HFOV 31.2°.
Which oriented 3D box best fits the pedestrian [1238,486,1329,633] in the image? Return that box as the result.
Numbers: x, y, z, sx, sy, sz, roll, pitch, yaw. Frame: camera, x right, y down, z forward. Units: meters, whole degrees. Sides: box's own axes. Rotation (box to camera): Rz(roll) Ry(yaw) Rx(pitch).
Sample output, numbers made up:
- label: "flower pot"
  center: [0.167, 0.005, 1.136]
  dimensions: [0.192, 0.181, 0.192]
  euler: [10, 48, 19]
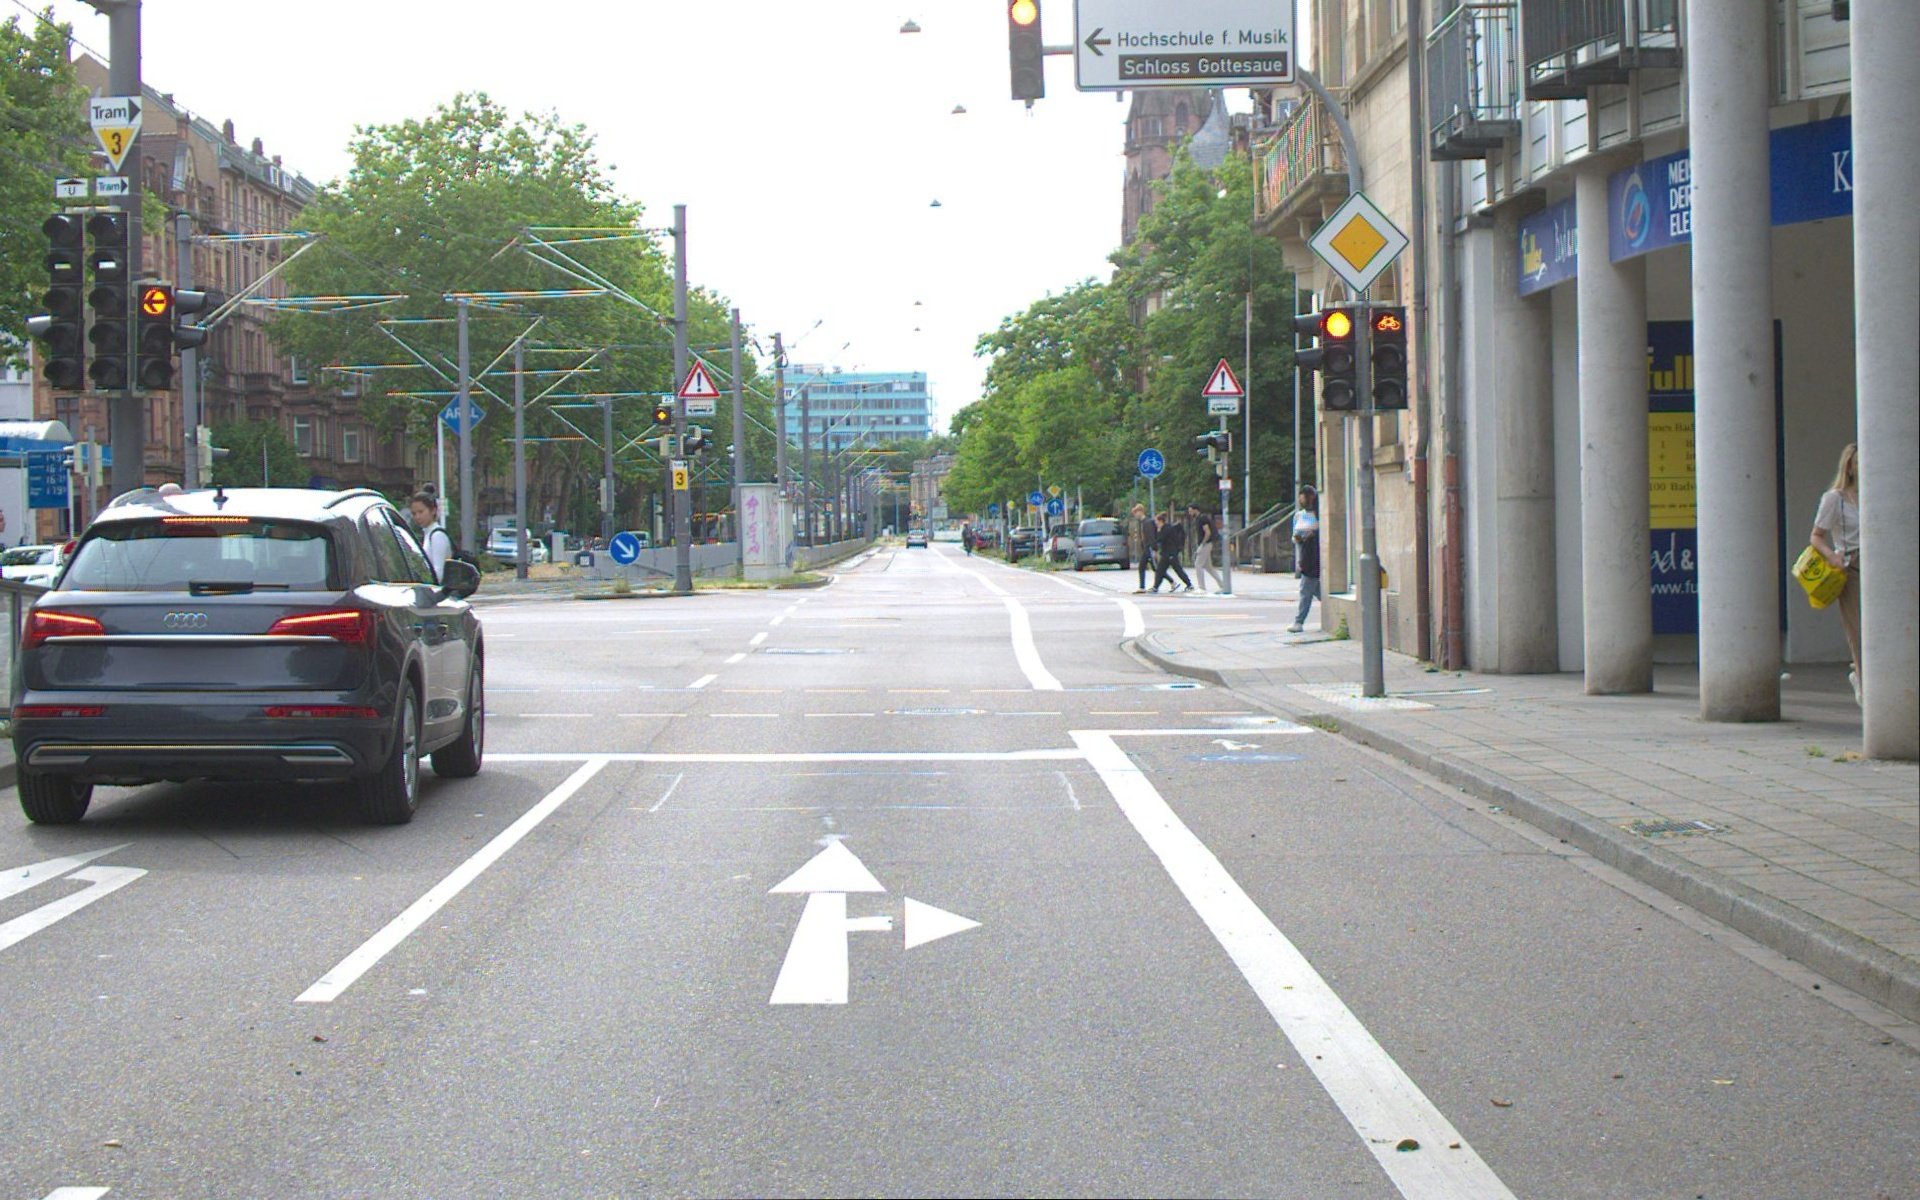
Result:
- label: "pedestrian"
  center: [3.737, -0.475, 39.670]
  dimensions: [0.671, 1.674, 0.866]
  euler: [1, 1, 38]

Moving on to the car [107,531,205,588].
- label: "car"
  center: [-22.455, -1.142, 96.131]
  dimensions: [1.894, 1.552, 3.837]
  euler: [0, 1, -1]

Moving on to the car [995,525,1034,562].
- label: "car"
  center: [2.983, -3.113, 188.752]
  dimensions: [1.993, 2.007, 4.000]
  euler: [0, 1, -1]

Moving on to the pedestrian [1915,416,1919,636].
- label: "pedestrian"
  center: [6.546, -0.247, 21.918]
  dimensions: [0.675, 1.884, 0.737]
  euler: [-2, 1, 1]

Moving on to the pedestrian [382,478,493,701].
- label: "pedestrian"
  center: [-3.932, -0.084, 25.893]
  dimensions: [0.728, 1.656, 0.756]
  euler: [0, 1, -1]

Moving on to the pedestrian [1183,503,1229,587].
- label: "pedestrian"
  center: [4.829, -1.081, 67.529]
  dimensions: [0.850, 1.648, 0.508]
  euler: [0, 1, -2]

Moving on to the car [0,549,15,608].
- label: "car"
  center: [-22.243, -0.460, 76.018]
  dimensions: [1.634, 1.321, 4.000]
  euler: [0, 1, -1]

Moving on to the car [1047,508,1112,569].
- label: "car"
  center: [4.030, -2.100, 116.653]
  dimensions: [1.993, 2.007, 4.000]
  euler: [0, 1, -1]

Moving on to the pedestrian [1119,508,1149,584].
- label: "pedestrian"
  center: [3.523, -1.096, 69.672]
  dimensions: [0.545, 1.531, 0.466]
  euler: [0, 1, -5]

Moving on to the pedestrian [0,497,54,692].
- label: "pedestrian"
  center: [-8.022, -0.055, 28.315]
  dimensions: [0.702, 1.587, 0.829]
  euler: [1, 1, 37]

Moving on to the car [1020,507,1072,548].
- label: "car"
  center: [3.629, -3.065, 145.456]
  dimensions: [1.993, 1.602, 4.164]
  euler: [-2, 1, -1]

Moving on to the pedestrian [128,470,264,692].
- label: "pedestrian"
  center: [-6.241, -0.166, 28.069]
  dimensions: [0.917, 1.778, 0.646]
  euler: [1, 1, 37]

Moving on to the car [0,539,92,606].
- label: "car"
  center: [-22.196, -0.686, 82.327]
  dimensions: [1.894, 1.552, 3.837]
  euler: [0, 1, -1]

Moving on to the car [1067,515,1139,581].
- label: "car"
  center: [4.438, -1.639, 107.225]
  dimensions: [1.993, 2.007, 4.000]
  euler: [0, 1, -1]

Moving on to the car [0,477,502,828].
- label: "car"
  center: [-3.570, 0.193, 17.903]
  dimensions: [1.880, 1.596, 4.358]
  euler: [0, 1, -1]

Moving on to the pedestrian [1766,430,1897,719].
- label: "pedestrian"
  center: [5.558, -0.170, 21.949]
  dimensions: [0.615, 1.799, 0.737]
  euler: [-2, 1, 1]

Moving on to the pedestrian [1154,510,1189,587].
- label: "pedestrian"
  center: [4.258, -1.042, 69.228]
  dimensions: [0.653, 1.531, 0.466]
  euler: [0, 1, -5]
